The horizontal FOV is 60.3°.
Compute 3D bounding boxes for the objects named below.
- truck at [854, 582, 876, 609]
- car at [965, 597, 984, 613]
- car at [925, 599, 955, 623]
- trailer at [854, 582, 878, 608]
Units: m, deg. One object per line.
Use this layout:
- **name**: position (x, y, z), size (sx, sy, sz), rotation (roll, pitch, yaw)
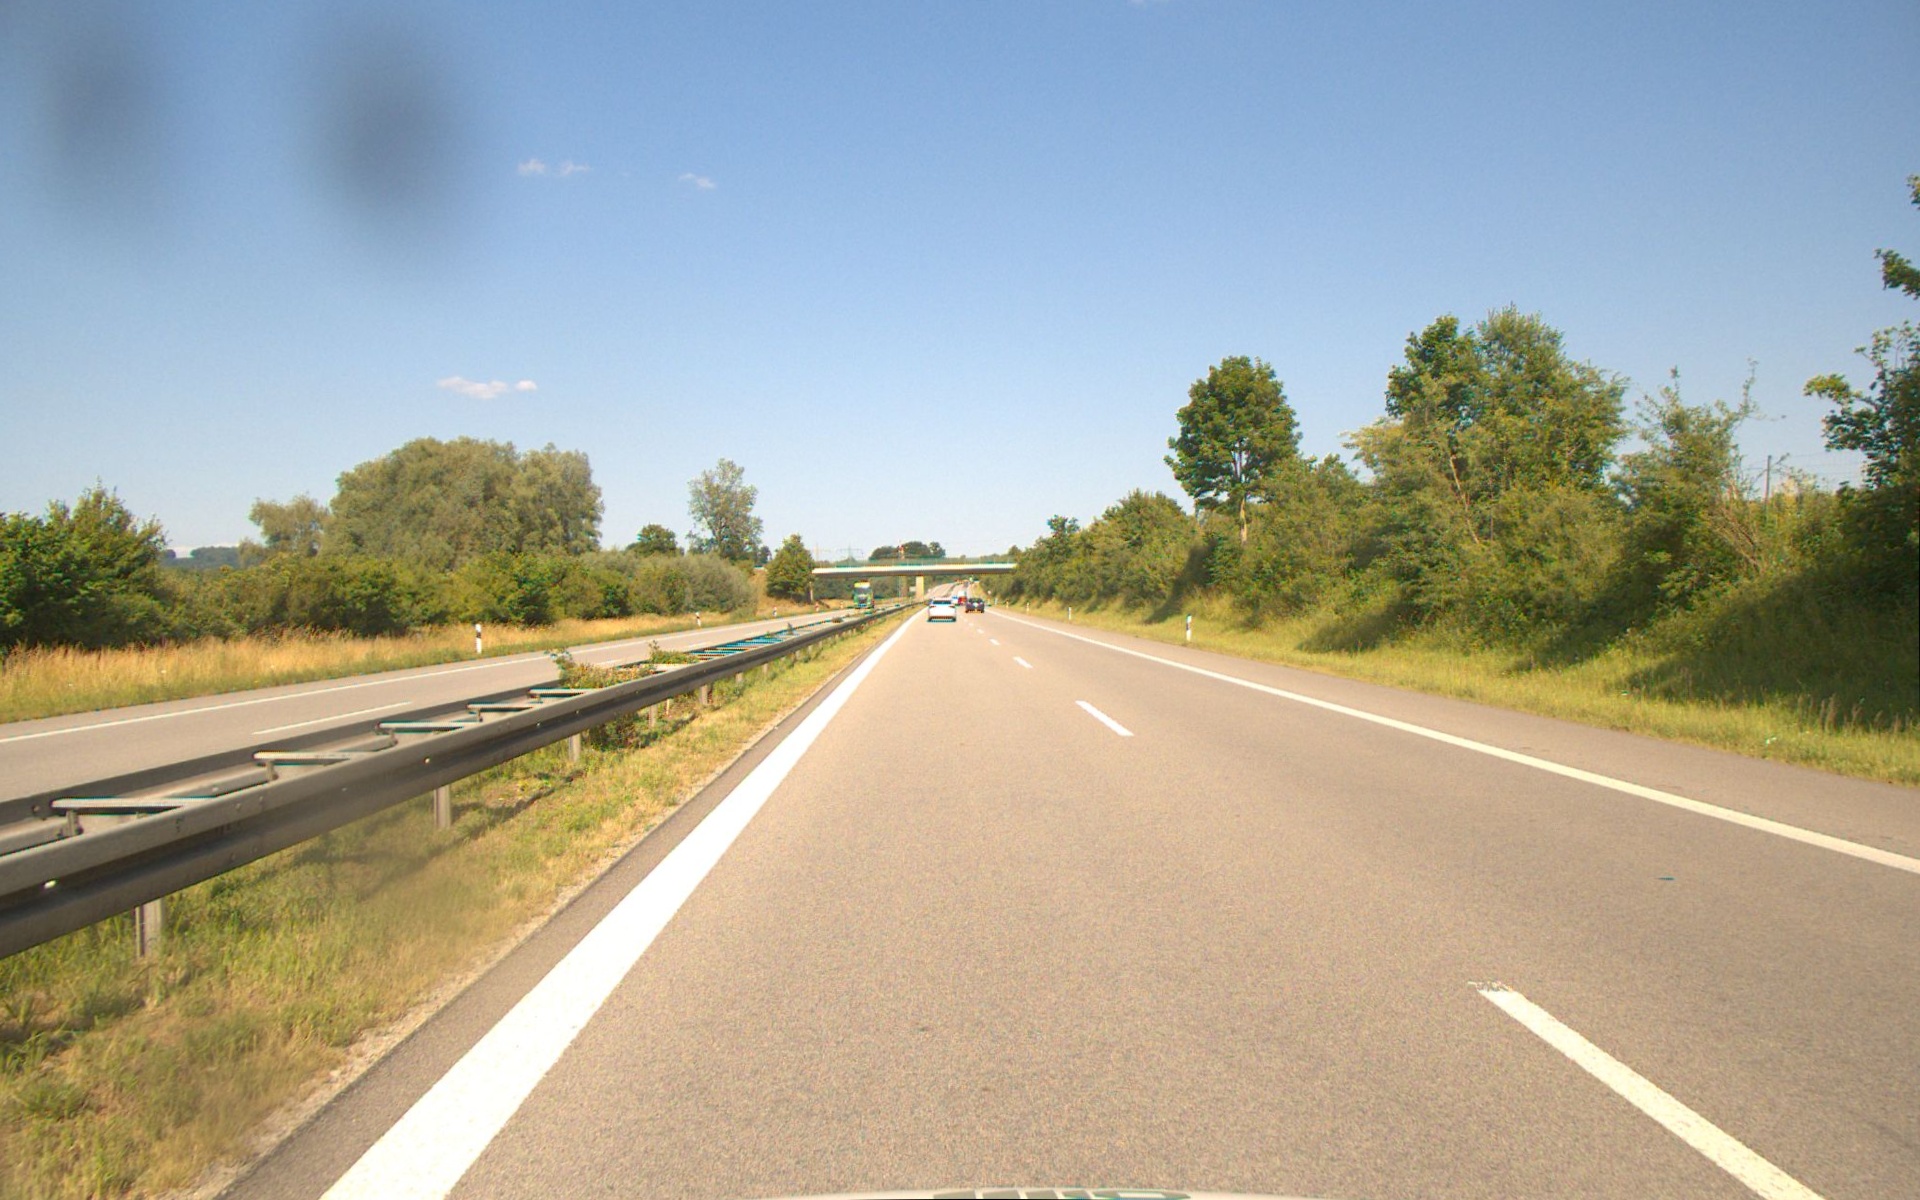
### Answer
- **truck**: position (-13.888, -0.685, 241.120), size (2.895, 3.796, 5.567), rotation (-2, 0, -1)
- **car**: position (1.423, 0.513, 162.319), size (1.805, 1.546, 3.999), rotation (1, 0, -1)
- **car**: position (-1.224, 0.675, 103.093), size (1.805, 1.440, 3.999), rotation (1, 0, -1)
- **trailer**: position (-14.052, -0.705, 248.238), size (2.919, 3.796, 12.417), rotation (-2, 0, -1)
